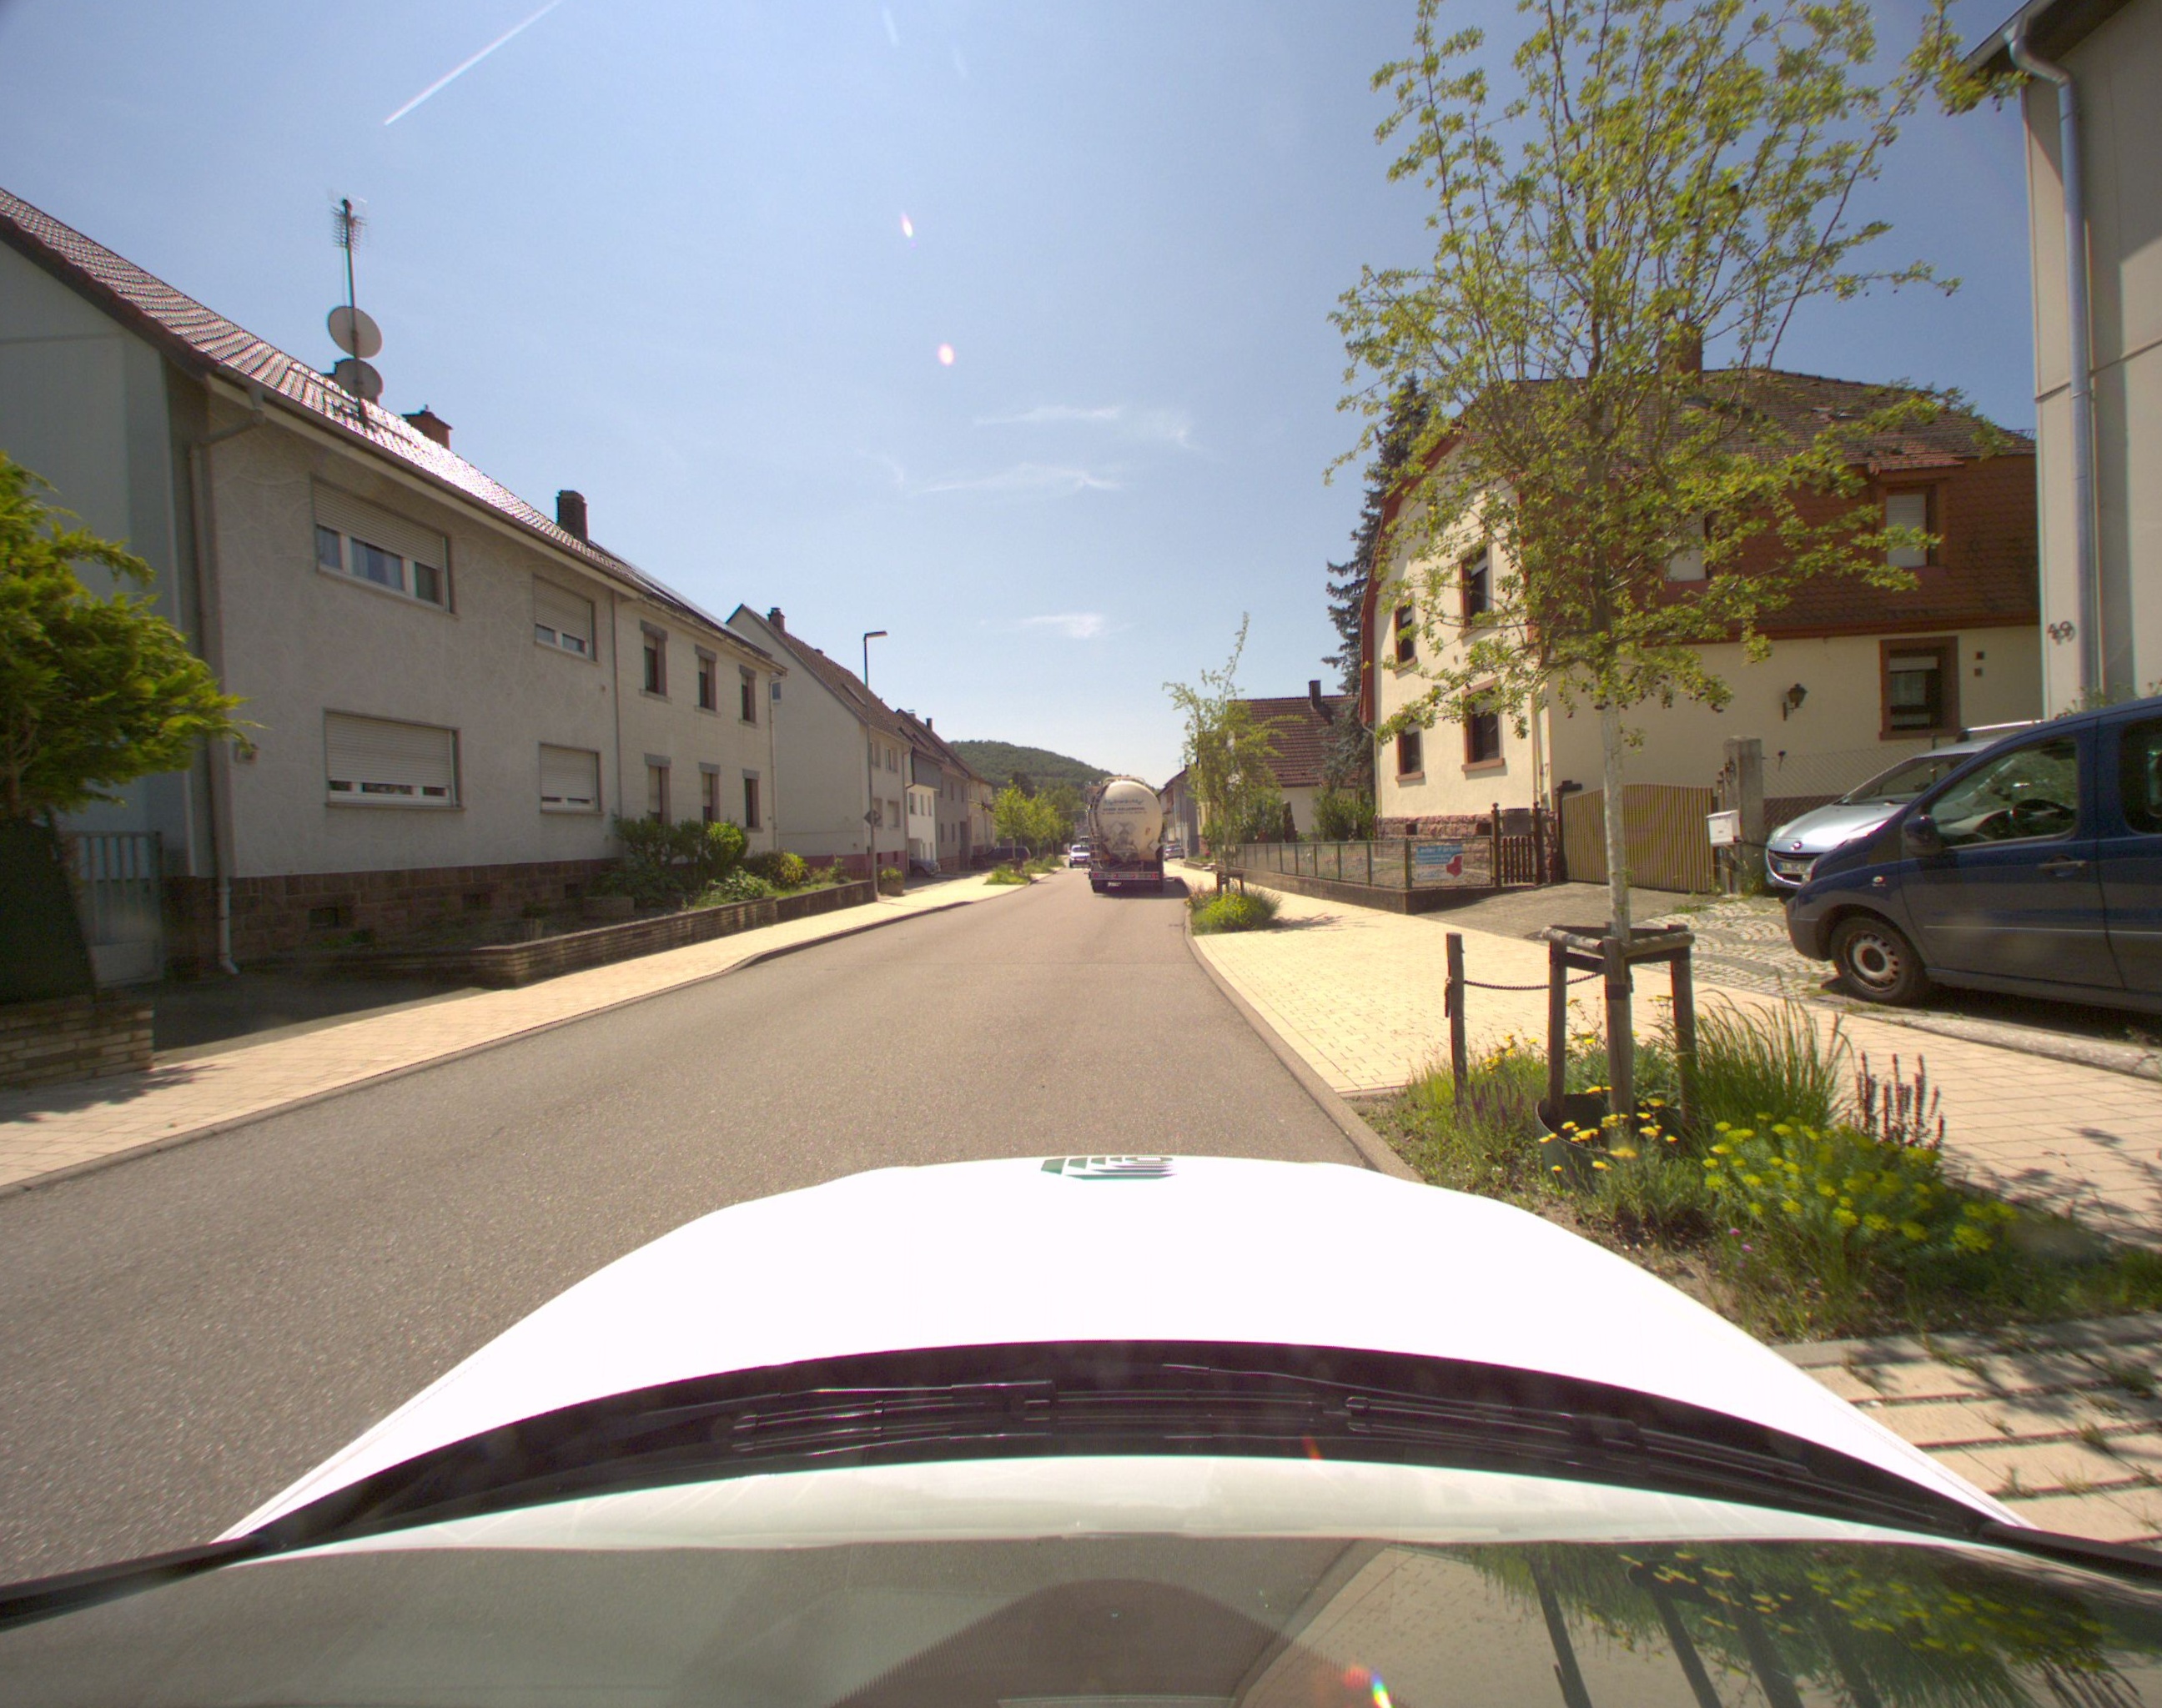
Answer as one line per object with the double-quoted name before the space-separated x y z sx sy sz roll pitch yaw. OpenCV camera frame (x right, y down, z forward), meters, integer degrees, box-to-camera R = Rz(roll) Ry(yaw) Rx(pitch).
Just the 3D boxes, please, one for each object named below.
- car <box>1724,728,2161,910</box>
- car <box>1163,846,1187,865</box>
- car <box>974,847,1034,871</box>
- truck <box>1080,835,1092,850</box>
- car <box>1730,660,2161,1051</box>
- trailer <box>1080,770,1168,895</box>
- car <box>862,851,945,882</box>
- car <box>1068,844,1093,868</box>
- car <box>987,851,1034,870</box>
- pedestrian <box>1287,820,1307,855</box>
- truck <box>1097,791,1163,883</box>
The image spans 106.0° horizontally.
"car" 9.775 -0.347 8.907 3.971 1.766 1.892 0 0 2
"car" 8.333 0.099 72.749 1.783 1.541 4.523 -3 0 3
"car" -5.884 0.379 62.579 4.380 1.750 1.878 -1 0 0
"truck" 1.170 -2.659 185.161 2.719 3.371 8.637 -1 0 1
"car" 6.337 -0.069 4.357 1.846 1.971 4.775 -6 0 1
"trailer" 1.807 -0.700 31.185 2.783 4.001 10.337 0 0 5
"car" -9.515 0.645 43.815 3.972 1.545 1.833 -1 0 1
"car" -0.007 0.154 67.627 1.882 1.861 4.579 0 0 1
"car" -5.791 0.524 66.713 3.505 1.439 1.710 -1 0 36
"pedestrian" 10.186 -0.778 38.433 0.602 1.615 0.553 -7 0 1
"truck" 2.336 -0.728 37.673 2.795 3.937 6.107 0 0 5
